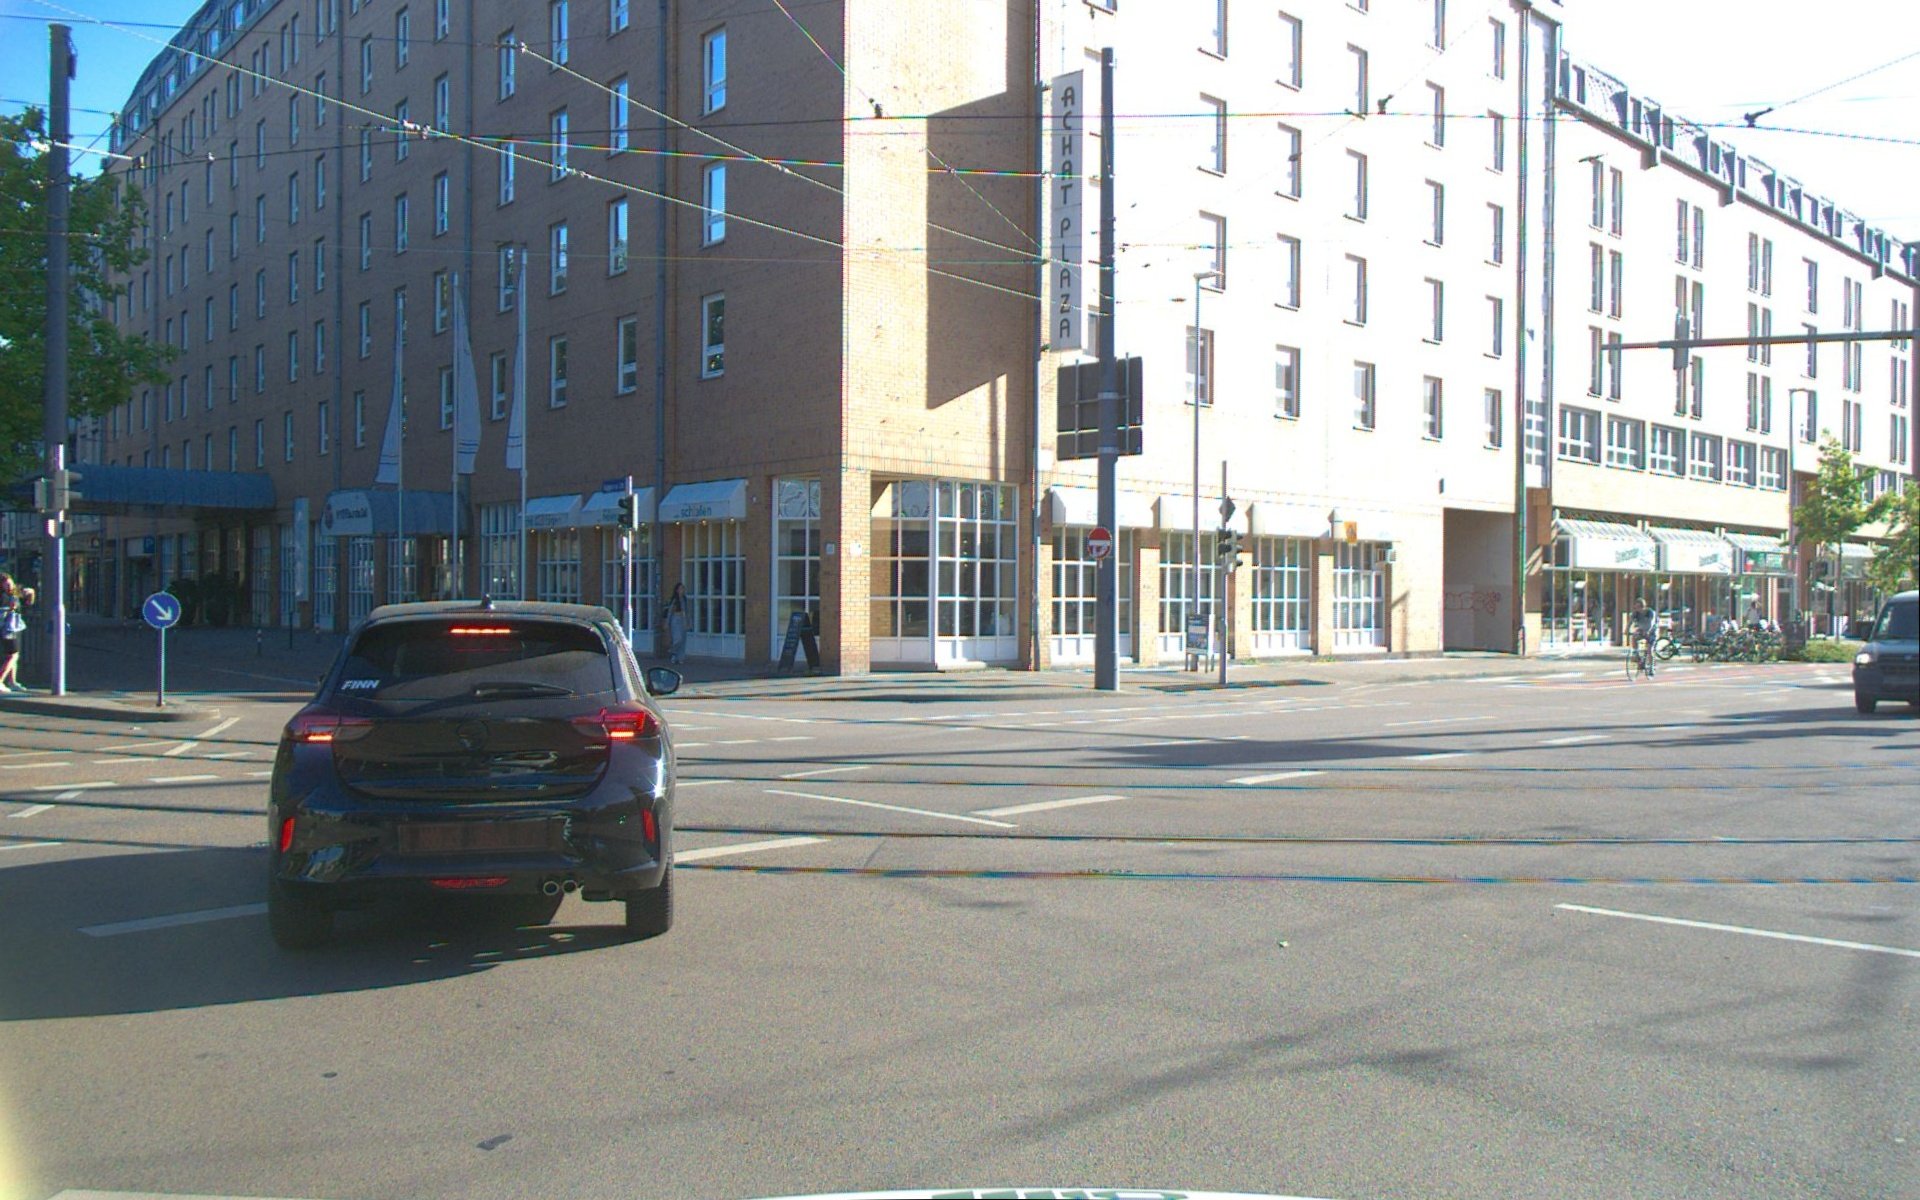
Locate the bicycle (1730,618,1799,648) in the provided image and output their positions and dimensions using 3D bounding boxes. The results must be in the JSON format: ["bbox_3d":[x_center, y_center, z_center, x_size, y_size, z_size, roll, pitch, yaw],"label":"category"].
[{"bbox_3d":[25.893,1.047,53.280,0.477,0.937,2.015,0,0,-34],"label":"bicycle"}]

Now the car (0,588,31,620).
[{"bbox_3d":[-51.406,0.184,89.462,1.659,1.681,3.643,0,0,-36],"label":"car"}]

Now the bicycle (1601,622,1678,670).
[{"bbox_3d":[15.545,1.036,37.784,0.798,1.008,2.493,-1,0,43],"label":"bicycle"}]

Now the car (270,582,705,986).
[{"bbox_3d":[-2.263,0.863,8.351,1.643,1.528,3.677,-1,-5,-13],"label":"car"}]

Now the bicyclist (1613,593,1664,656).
[{"bbox_3d":[15.476,0.545,37.720,0.798,1.401,0.920,-1,0,43],"label":"bicyclist"}]

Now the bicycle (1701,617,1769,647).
[{"bbox_3d":[24.801,1.026,52.949,0.477,0.937,2.015,0,0,-34],"label":"bicycle"}]

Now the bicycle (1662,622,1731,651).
[{"bbox_3d":[22.667,1.124,50.937,0.477,0.860,2.015,0,0,-34],"label":"bicycle"}]

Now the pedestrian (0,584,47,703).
[{"bbox_3d":[-13.830,0.625,24.267,0.706,1.709,0.823,-2,1,-29],"label":"pedestrian"}]

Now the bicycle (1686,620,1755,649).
[{"bbox_3d":[23.848,1.074,51.894,0.477,0.860,2.015,0,0,-34],"label":"bicycle"}]

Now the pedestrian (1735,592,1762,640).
[{"bbox_3d":[29.299,0.591,61.467,0.561,1.795,0.708,0,-1,-42],"label":"pedestrian"}]

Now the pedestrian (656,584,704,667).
[{"bbox_3d":[-5.890,0.527,34.763,0.734,1.695,0.743,-1,0,-38],"label":"pedestrian"}]

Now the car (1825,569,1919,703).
[{"bbox_3d":[14.649,0.502,24.618,4.072,1.868,1.817,0,-2,-42],"label":"car"}]
